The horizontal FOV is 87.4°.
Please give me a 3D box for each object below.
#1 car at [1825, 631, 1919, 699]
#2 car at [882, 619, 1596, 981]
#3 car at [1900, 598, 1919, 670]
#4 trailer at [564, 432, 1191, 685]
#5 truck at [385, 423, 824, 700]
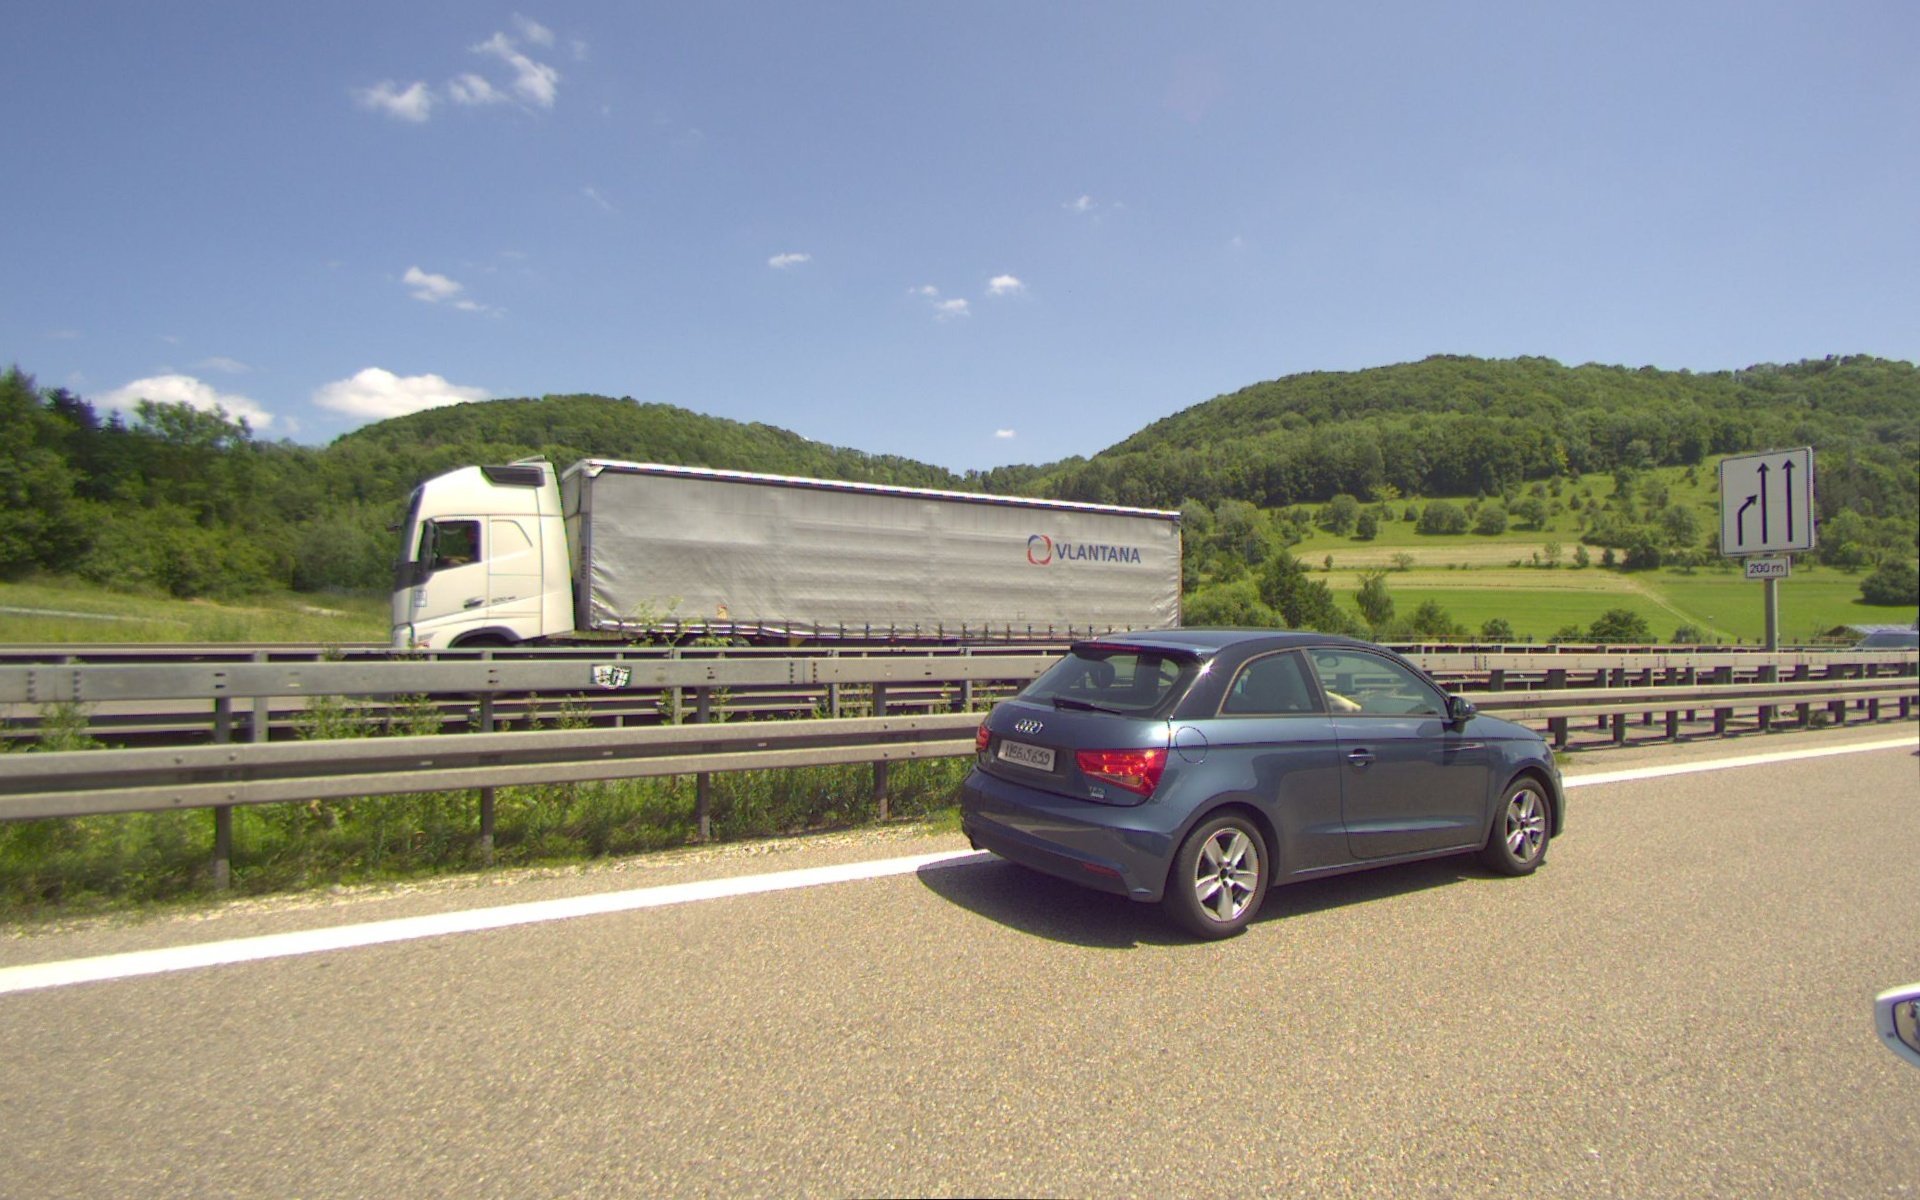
[{"bbox_3d":[26.446,1.788,28.410,4.236,1.732,1.836,1,-1,-32],"label":"car"},{"bbox_3d":[1.702,0.849,5.725,3.955,1.407,1.680,2,-1,-31],"label":"car"},{"bbox_3d":[41.911,1.477,41.915,6.324,2.900,2.145,2,0,-30],"label":"car"},{"bbox_3d":[-1.079,-0.499,21.550,13.457,4.247,2.840,2,0,-31],"label":"trailer"},{"bbox_3d":[-6.420,-0.493,18.546,7.147,4.288,2.784,2,0,-31],"label":"truck"}]
